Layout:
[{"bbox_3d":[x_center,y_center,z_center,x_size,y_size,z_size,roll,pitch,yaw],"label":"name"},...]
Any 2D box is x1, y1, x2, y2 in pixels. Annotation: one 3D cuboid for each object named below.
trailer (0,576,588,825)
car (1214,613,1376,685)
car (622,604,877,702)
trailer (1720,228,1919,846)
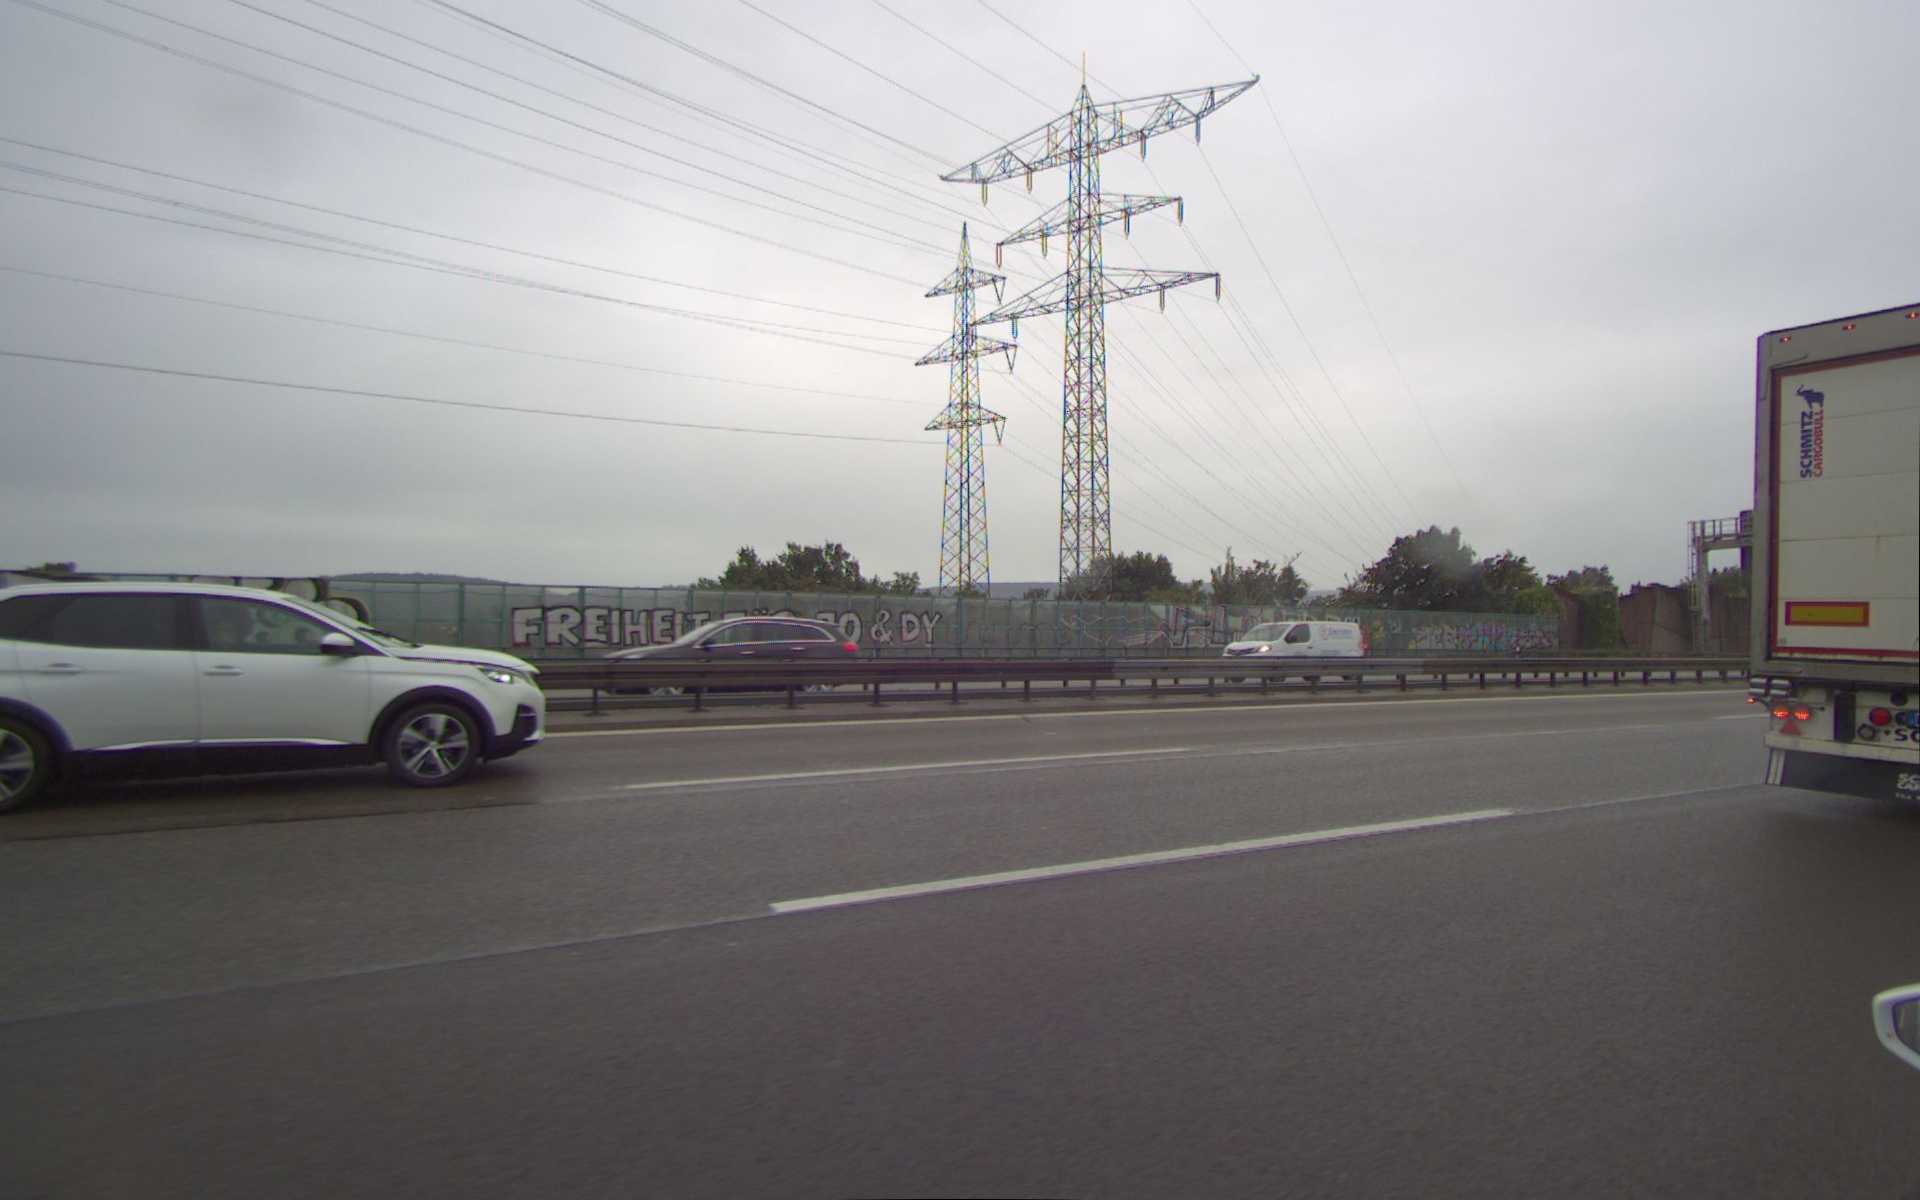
[{"bbox_3d":[-5.538,0.697,8.157,4.512,1.646,1.807,1,-1,-29],"label":"trailer"},{"bbox_3d":[10.417,1.496,31.162,4.954,2.040,1.983,2,0,-31],"label":"car"},{"bbox_3d":[-3.835,0.937,18.422,4.165,1.578,1.984,2,0,-30],"label":"car"},{"bbox_3d":[12.909,-0.260,10.433,14.647,4.212,2.332,2,-1,-29],"label":"trailer"}]
